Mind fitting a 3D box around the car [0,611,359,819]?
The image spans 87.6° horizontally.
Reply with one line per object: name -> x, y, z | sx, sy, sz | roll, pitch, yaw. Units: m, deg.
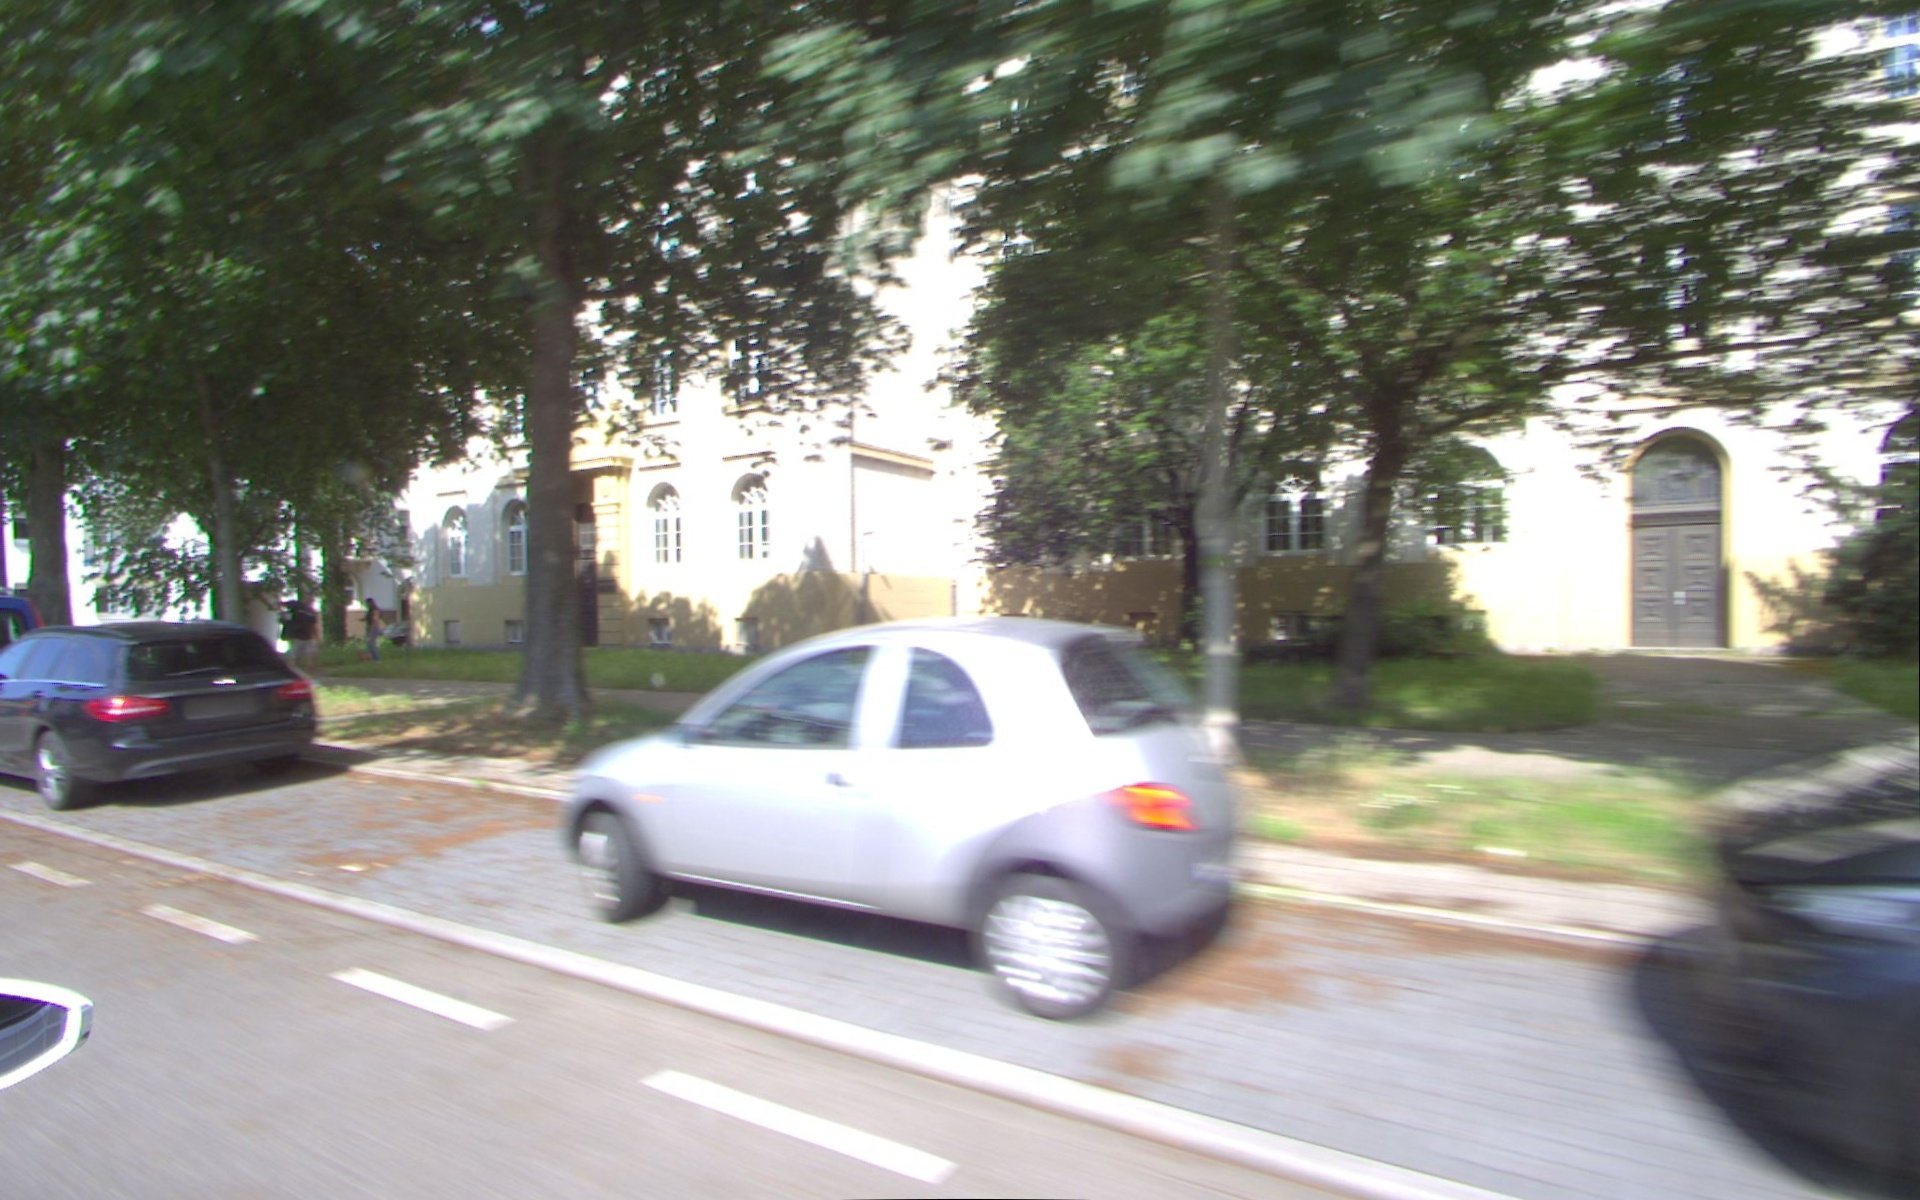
car -> -8.040, 0.885, 9.519 | 4.725, 1.462, 1.913 | 0, 3, 30

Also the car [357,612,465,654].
car -> -20.705, 1.230, 37.751 | 3.939, 1.478, 1.737 | -1, 0, 29

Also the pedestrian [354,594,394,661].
pedestrian -> -14.408, 0.667, 24.637 | 0.531, 1.617, 0.630 | -1, 1, 28

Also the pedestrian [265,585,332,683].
pedestrian -> -11.961, 0.605, 18.106 | 0.756, 1.719, 0.742 | 0, 1, 32

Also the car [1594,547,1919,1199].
car -> 4.016, 0.650, 2.008 | 4.610, 1.605, 1.721 | -1, 1, 32

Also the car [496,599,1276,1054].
car -> -0.457, 0.781, 4.917 | 3.546, 1.464, 1.587 | -1, 1, 32

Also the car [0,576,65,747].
car -> -12.686, 0.704, 12.036 | 4.124, 1.922, 1.818 | 0, 2, 33
